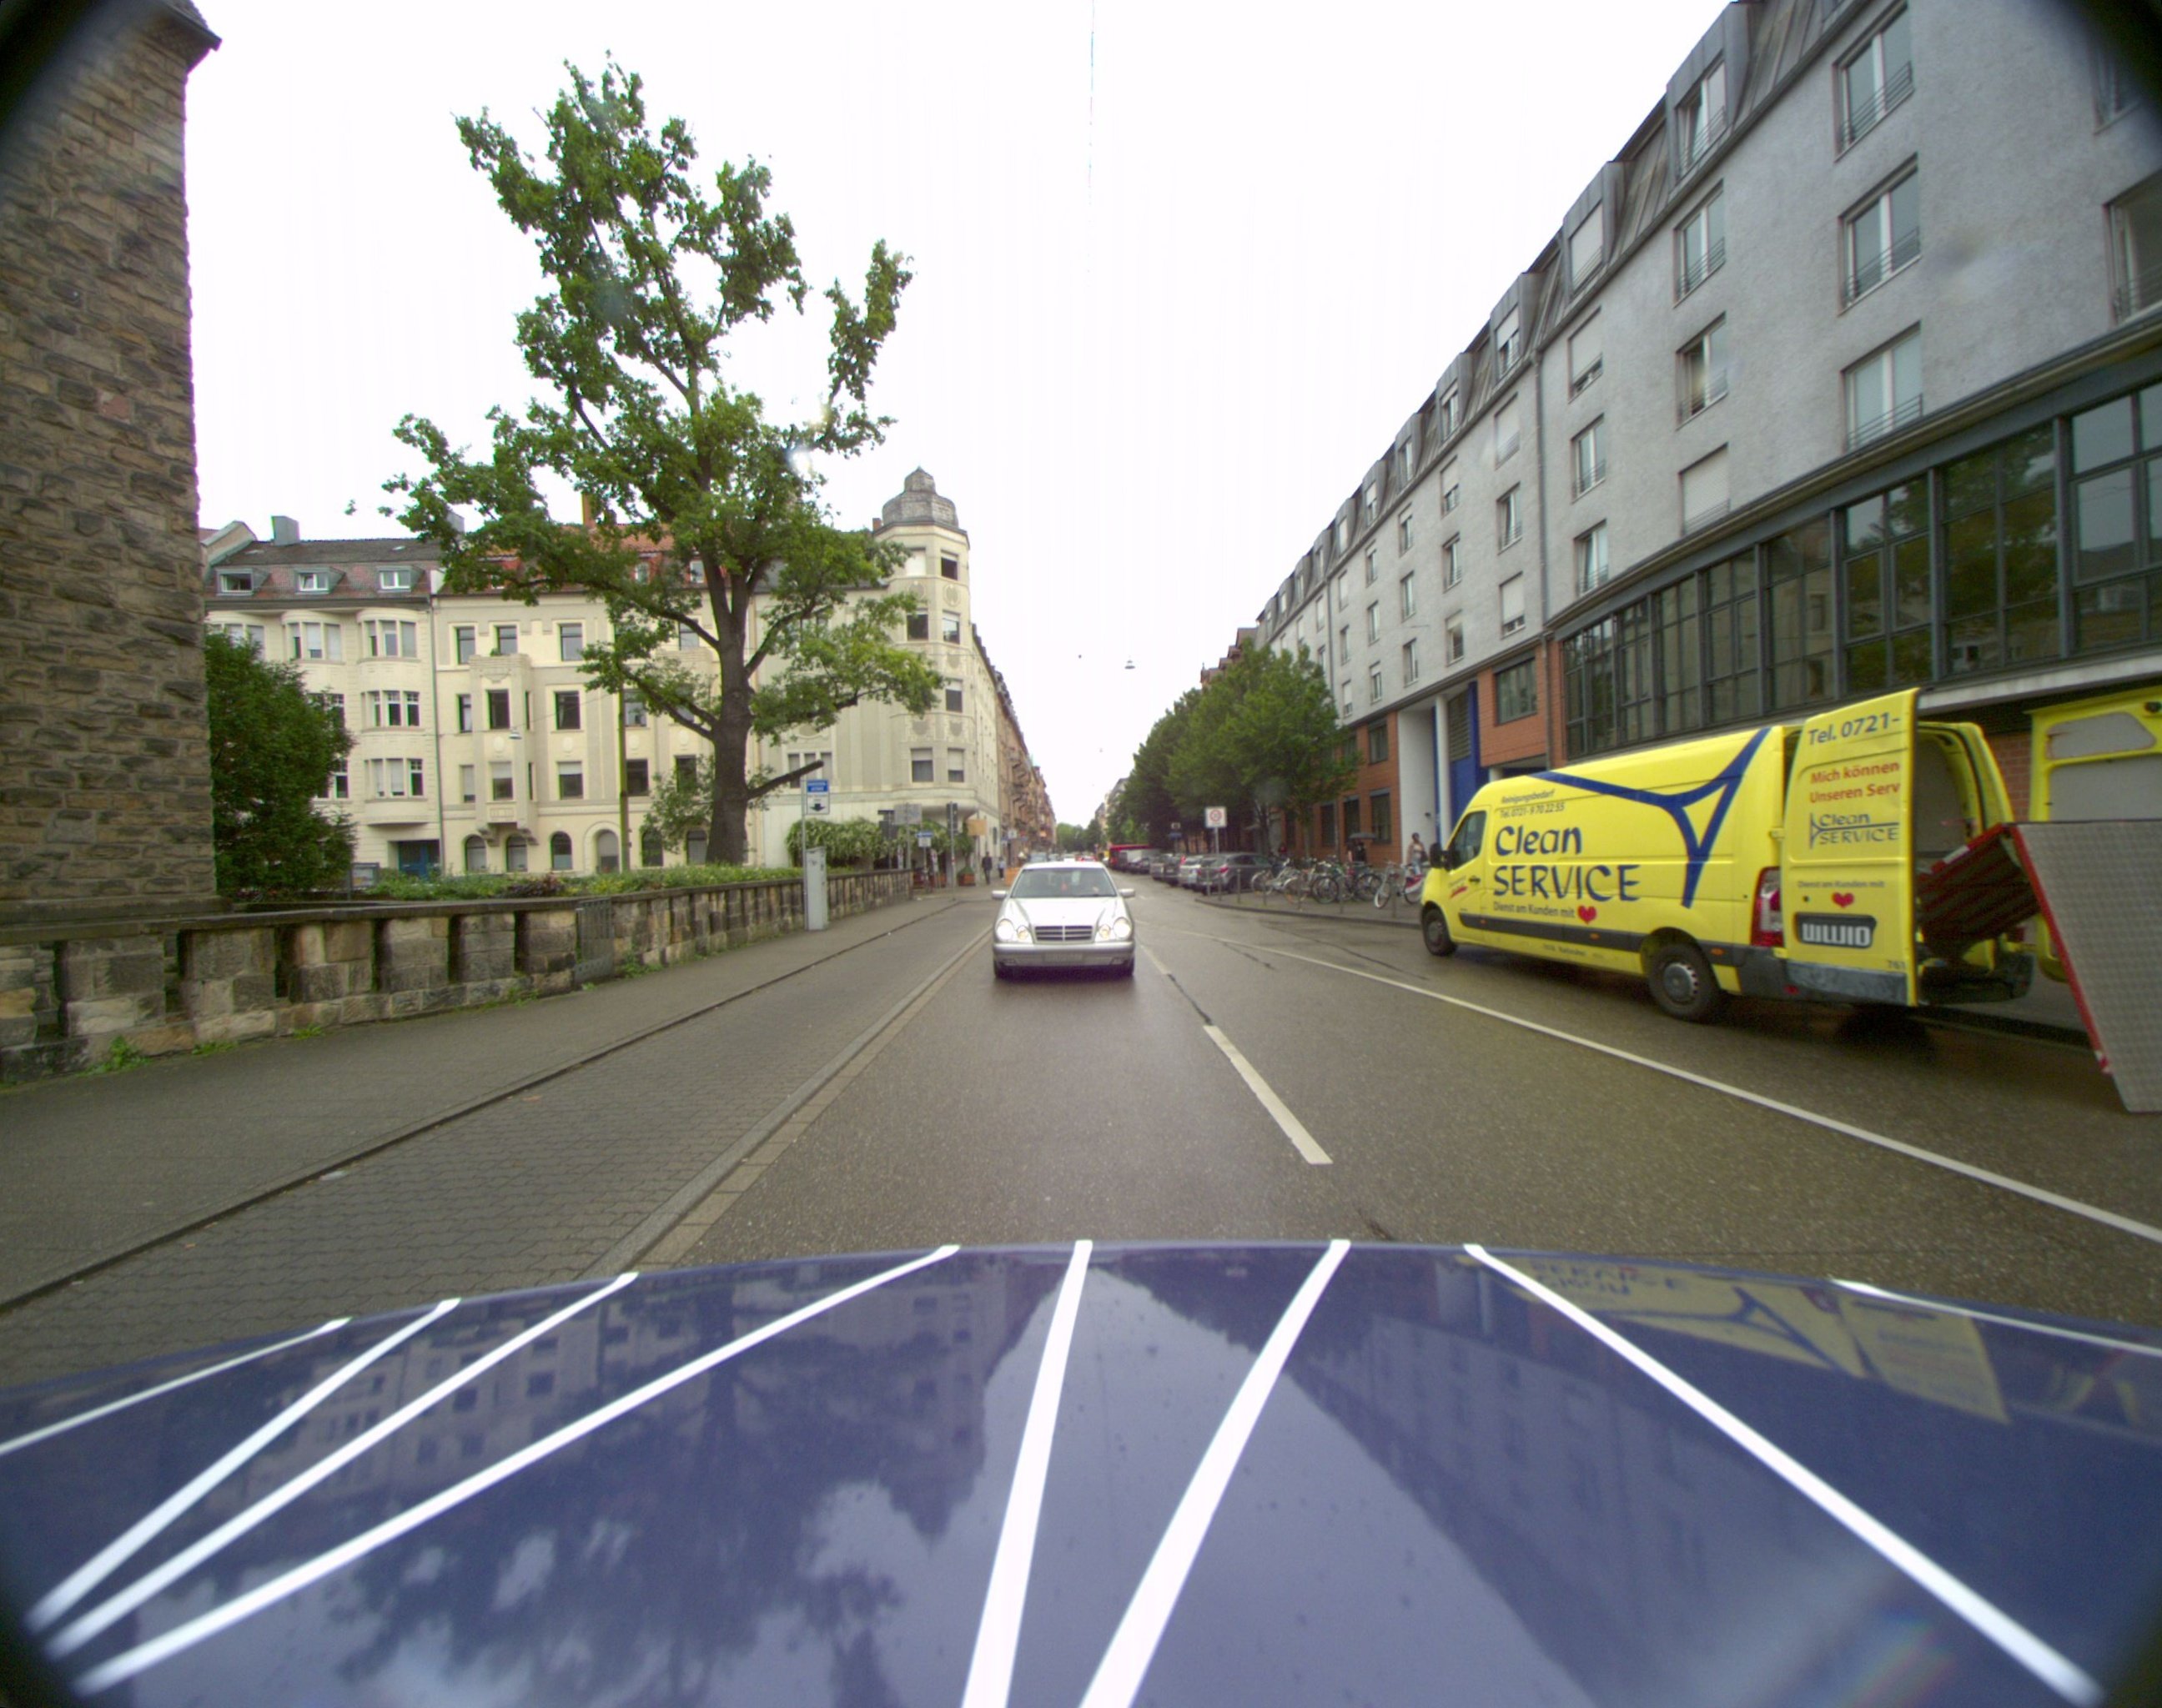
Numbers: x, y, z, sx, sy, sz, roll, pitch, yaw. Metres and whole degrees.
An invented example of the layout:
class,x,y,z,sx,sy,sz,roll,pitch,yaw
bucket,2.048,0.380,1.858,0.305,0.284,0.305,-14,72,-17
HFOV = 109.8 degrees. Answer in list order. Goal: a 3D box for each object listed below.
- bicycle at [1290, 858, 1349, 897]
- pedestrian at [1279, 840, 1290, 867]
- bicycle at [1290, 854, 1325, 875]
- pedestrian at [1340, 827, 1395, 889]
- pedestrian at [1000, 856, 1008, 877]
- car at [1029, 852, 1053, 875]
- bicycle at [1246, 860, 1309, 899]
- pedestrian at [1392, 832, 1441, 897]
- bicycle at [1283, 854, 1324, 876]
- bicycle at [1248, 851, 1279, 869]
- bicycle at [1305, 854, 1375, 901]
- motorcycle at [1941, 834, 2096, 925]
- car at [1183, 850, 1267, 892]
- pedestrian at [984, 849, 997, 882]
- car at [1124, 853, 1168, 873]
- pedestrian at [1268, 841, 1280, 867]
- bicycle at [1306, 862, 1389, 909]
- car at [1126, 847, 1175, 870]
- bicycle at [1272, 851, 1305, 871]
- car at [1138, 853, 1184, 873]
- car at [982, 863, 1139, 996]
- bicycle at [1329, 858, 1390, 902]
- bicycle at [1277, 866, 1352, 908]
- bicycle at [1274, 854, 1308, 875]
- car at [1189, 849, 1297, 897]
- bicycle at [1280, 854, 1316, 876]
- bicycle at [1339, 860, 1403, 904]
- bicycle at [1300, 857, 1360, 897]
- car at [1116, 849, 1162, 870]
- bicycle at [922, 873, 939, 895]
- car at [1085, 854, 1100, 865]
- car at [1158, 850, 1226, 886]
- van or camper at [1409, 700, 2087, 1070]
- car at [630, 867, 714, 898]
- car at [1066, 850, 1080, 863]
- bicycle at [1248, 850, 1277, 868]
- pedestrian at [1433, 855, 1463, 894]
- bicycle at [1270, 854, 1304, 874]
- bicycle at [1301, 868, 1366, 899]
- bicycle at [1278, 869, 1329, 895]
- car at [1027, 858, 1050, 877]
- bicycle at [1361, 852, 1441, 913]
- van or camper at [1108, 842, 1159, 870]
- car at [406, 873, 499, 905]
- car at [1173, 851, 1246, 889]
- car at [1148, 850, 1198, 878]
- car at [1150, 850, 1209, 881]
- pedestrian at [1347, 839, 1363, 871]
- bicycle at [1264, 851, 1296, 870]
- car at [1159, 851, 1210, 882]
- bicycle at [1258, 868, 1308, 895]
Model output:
class,x,y,z,sx,sy,sz,roll,pitch,yaw
bicycle,7.313,0.707,23.318,1.610,1.099,0.520,-3,1,-4
pedestrian,12.541,-0.034,46.803,0.514,1.601,0.425,-2,1,1
bicycle,11.183,0.507,37.515,1.590,0.978,0.445,-2,1,-8
pedestrian,9.323,0.132,24.752,1.228,1.870,1.055,-6,1,0
pedestrian,-5.273,0.851,52.309,0.482,1.452,0.392,-1,1,0
car,-3.166,0.724,60.408,1.726,1.794,3.462,-1,0,0
bicycle,6.141,0.778,23.777,1.812,1.099,0.472,-3,1,-4
pedestrian,9.315,0.296,21.097,0.827,1.697,0.859,-6,0,1
bicycle,10.685,0.530,36.499,1.851,0.978,0.445,-2,1,-8
bicycle,10.304,0.337,42.948,1.590,0.978,0.465,-2,1,-8
bicycle,7.299,0.654,21.420,1.815,1.187,0.519,-3,1,-13
motorcycle,13.295,0.324,10.851,0.524,1.174,1.760,-3,0,19
car,5.860,0.674,30.860,3.083,1.494,1.449,-3,0,-31
pedestrian,-5.155,0.646,43.338,0.646,1.862,0.693,-1,1,0
car,5.335,0.705,61.805,1.685,1.481,3.799,-1,0,40
pedestrian,11.930,-0.001,46.971,0.605,1.601,0.372,-2,1,-1
bicycle,6.749,0.803,19.284,1.858,1.067,0.609,-3,1,6
car,6.078,0.398,66.099,4.338,1.884,1.685,-1,0,-41
bicycle,10.766,0.372,39.507,1.590,0.978,0.445,-2,1,-8
car,6.267,0.664,59.287,1.685,1.481,3.799,-1,0,40
car,-0.234,0.897,10.769,1.764,1.420,4.000,-2,0,0
bicycle,7.514,0.696,20.560,1.461,1.096,0.462,-3,1,14
bicycle,6.173,0.866,20.123,1.800,0.987,0.520,-3,1,-2
bicycle,10.511,0.511,38.095,1.590,0.978,0.445,-2,1,-8
car,5.977,0.662,27.933,3.629,1.494,1.736,-3,1,-31
bicycle,10.558,0.526,36.972,1.590,0.978,0.445,-2,1,-8
bicycle,7.541,0.719,19.787,1.462,1.058,0.418,-3,1,4
bicycle,7.422,0.681,22.667,1.611,1.099,0.519,-3,1,-13
car,5.352,0.513,69.550,4.338,1.822,1.571,-1,0,-41
bicycle,-7.229,1.420,36.577,0.390,0.888,2.023,-1,2,0
car,1.431,0.668,95.675,1.651,1.301,3.311,-1,0,-2
car,5.322,0.645,36.355,3.084,1.543,1.449,-3,0,-40
van or camper,6.057,0.215,8.386,2.201,2.596,5.941,-1,0,-1
car,-19.728,1.365,36.690,3.270,1.401,1.448,-1,0,3
car,-1.284,0.351,117.235,1.998,2.002,4.000,-2,0,1
bicycle,10.745,0.296,44.977,1.590,0.978,0.465,-2,1,-8
pedestrian,10.272,0.573,21.257,0.485,1.044,0.528,-6,0,-1
bicycle,10.555,0.497,38.887,1.590,0.978,0.445,-2,1,-8
bicycle,7.324,0.847,22.012,1.773,0.757,0.456,-3,1,-13
bicycle,7.092,0.887,24.256,1.473,0.717,0.497,-3,1,3
car,-3.086,0.956,55.311,1.447,1.348,3.204,-1,0,0
bicycle,7.534,0.644,17.852,1.922,1.209,0.768,-6,3,-35
van or camper,5.205,0.189,75.494,4.604,2.597,1.999,-1,0,-27
car,-29.952,1.646,36.249,3.270,1.401,1.448,-1,0,3
car,5.676,0.677,33.469,3.084,1.494,1.449,-3,0,-40
car,5.433,0.580,44.852,2.685,1.546,1.148,-3,0,-29
car,5.456,0.638,42.095,2.985,1.546,1.369,-3,0,-29
pedestrian,13.091,0.033,36.342,0.516,1.521,0.548,-1,1,-3
bicycle,10.652,0.359,40.672,1.590,0.978,0.465,-2,1,-8
car,5.401,0.651,39.587,2.506,1.442,1.191,-3,0,-40
bicycle,6.619,0.892,24.884,1.473,0.800,0.497,-3,1,3
